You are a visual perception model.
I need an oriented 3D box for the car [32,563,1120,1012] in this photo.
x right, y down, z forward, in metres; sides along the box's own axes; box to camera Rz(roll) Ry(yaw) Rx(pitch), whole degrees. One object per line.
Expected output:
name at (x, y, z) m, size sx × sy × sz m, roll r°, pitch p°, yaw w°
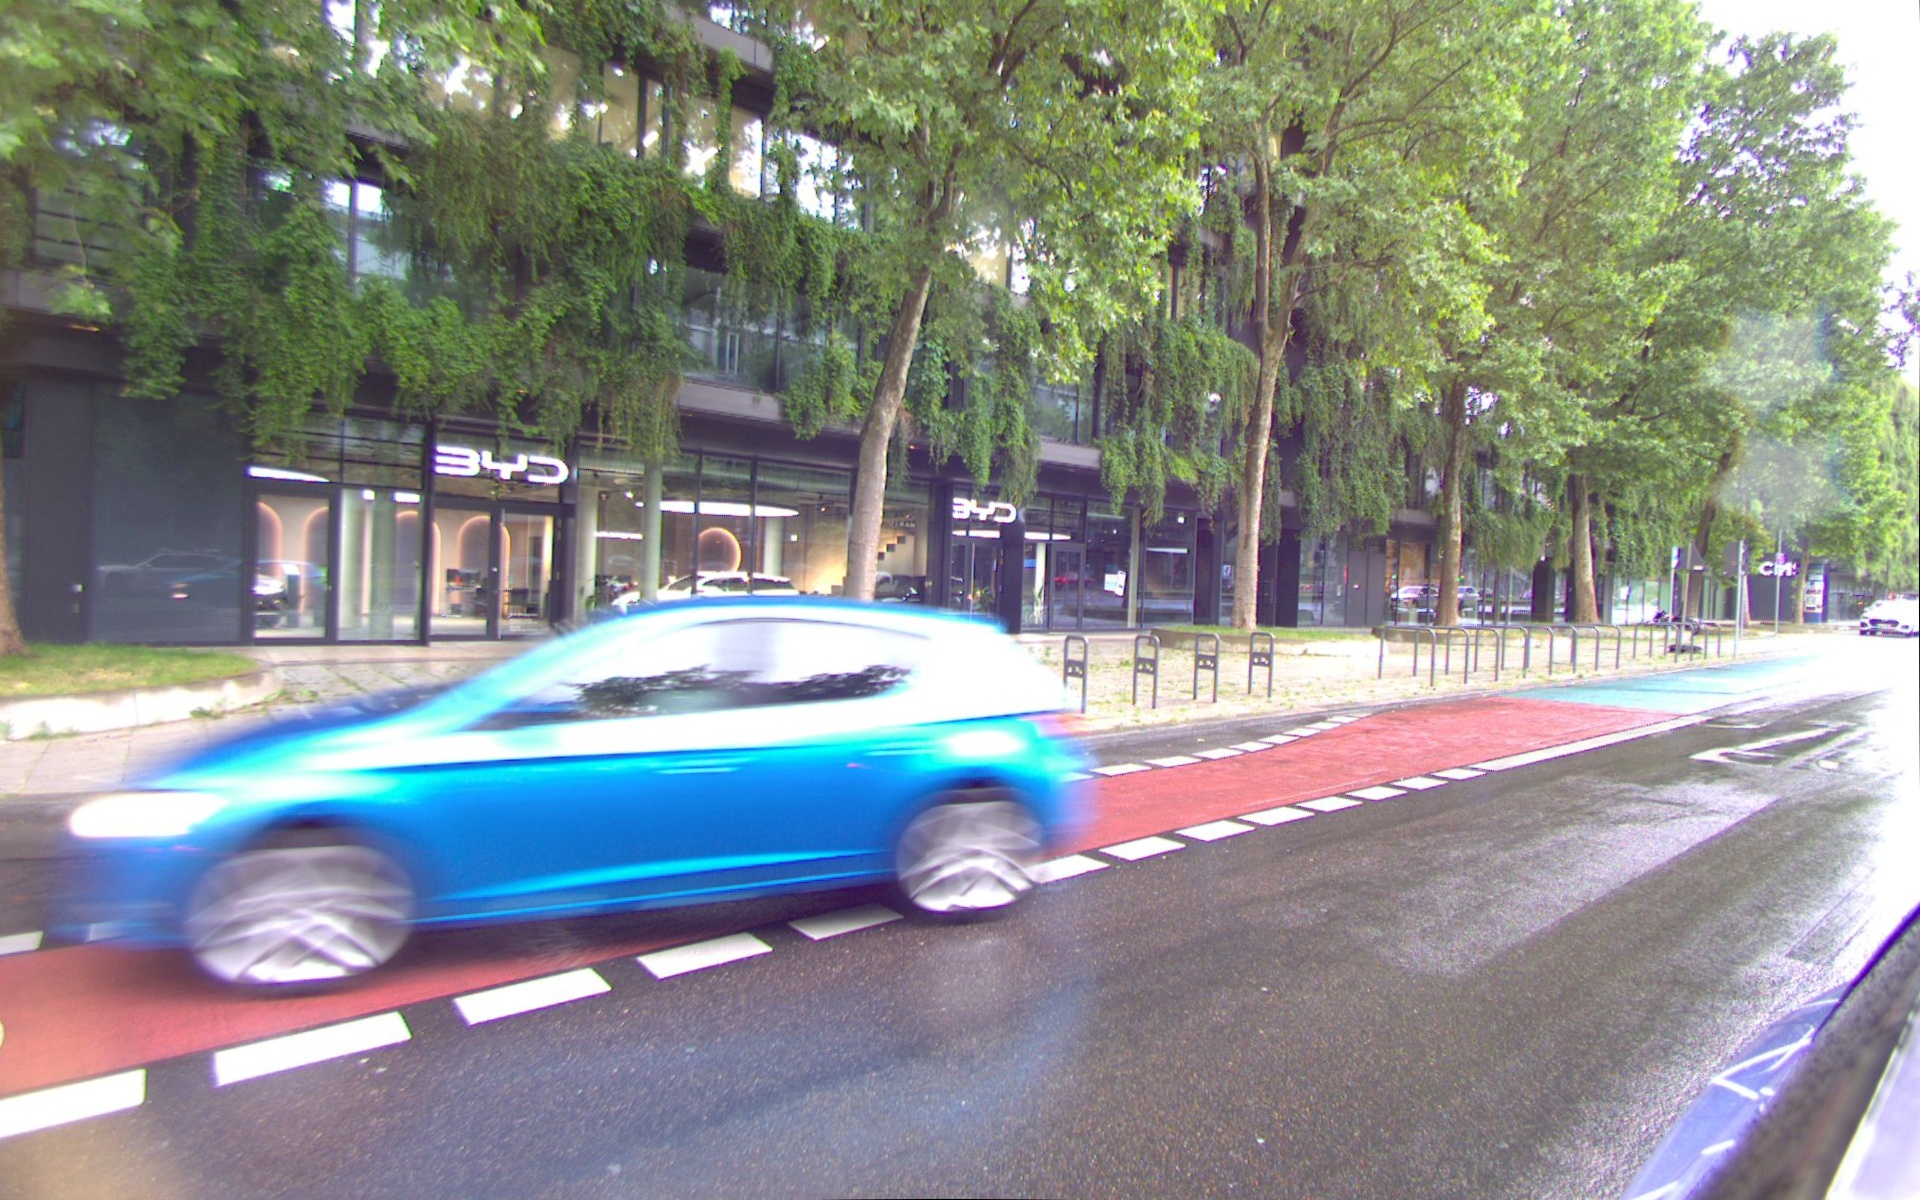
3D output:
car at (-1.445, 0.572, 4.813) m, size 3.977 × 1.453 × 1.805 m, roll 0°, pitch 2°, yaw -21°

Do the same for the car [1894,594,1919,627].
car at (49.255, 0.520, 51.390) m, size 4.503 × 1.581 × 2.035 m, roll -1°, pitch 1°, yaw -39°

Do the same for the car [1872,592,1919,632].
car at (44.604, 0.534, 47.647) m, size 4.519 × 1.757 × 1.931 m, roll -1°, pitch 1°, yaw -41°

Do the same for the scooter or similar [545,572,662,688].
scooter or similar at (-4.085, 0.331, 11.627) m, size 1.165 × 1.298 × 0.535 m, roll 0°, pitch 0°, yaw 10°
